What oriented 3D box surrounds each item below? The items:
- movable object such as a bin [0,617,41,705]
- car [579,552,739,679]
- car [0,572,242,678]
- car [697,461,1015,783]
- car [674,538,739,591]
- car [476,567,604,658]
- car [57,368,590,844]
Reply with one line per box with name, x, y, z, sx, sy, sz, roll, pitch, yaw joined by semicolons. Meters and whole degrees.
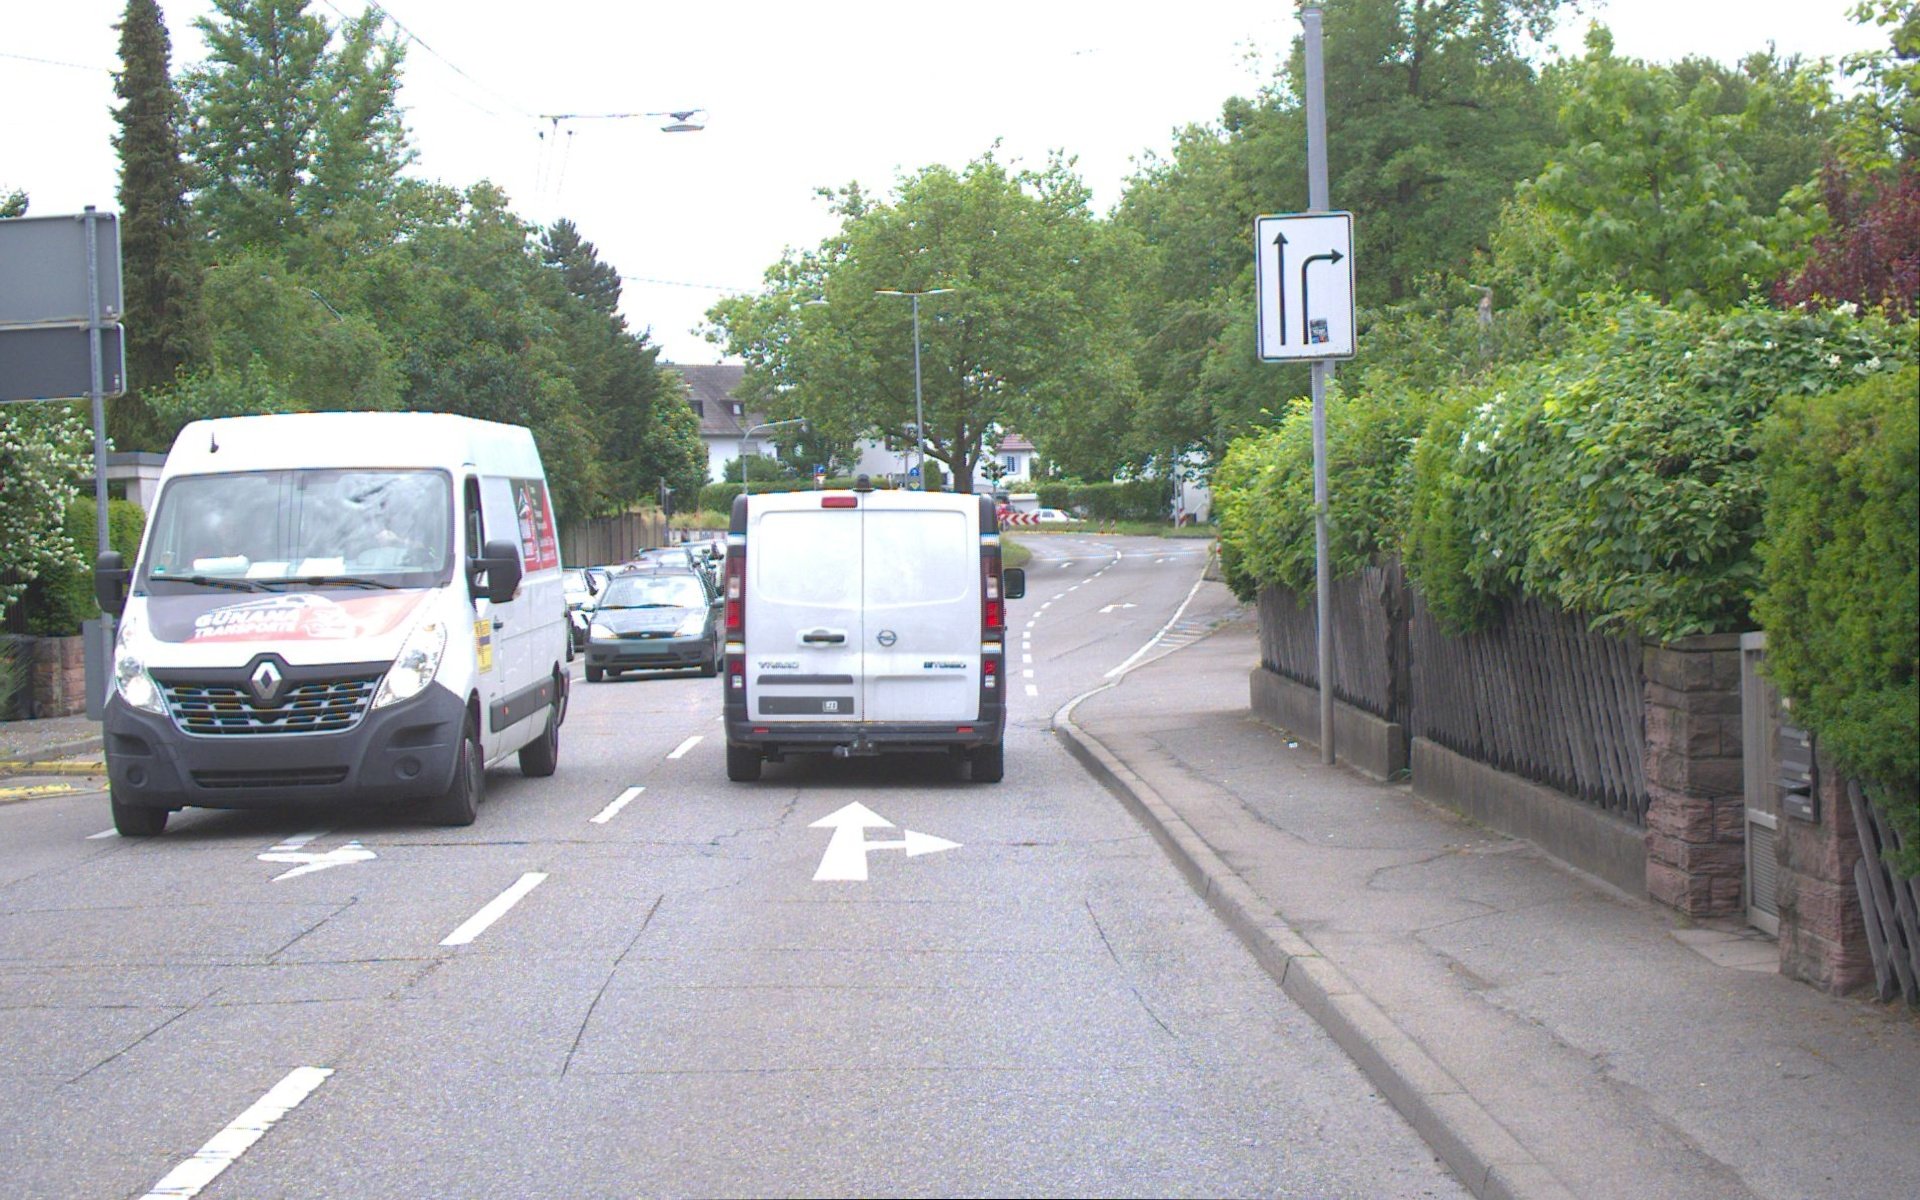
movable object such as a bin;-10.237;0.652;36.904;0.539;0.939;0.509;0;0;12
car;-3.969;0.163;45.912;1.734;1.548;4.448;-2;1;0
car;-12.254;0.356;48.765;3.589;1.386;1.849;-1;1;8
car;-0.738;0.094;24.410;2.006;2.031;5.010;1;1;-2
car;-8.113;-1.148;110.315;1.887;1.619;4.431;-2;1;-2
car;-7.657;0.200;63.016;1.889;1.489;4.027;-3;1;-2
car;-3.730;-0.033;21.438;2.111;2.490;6.125;-2;1;0
